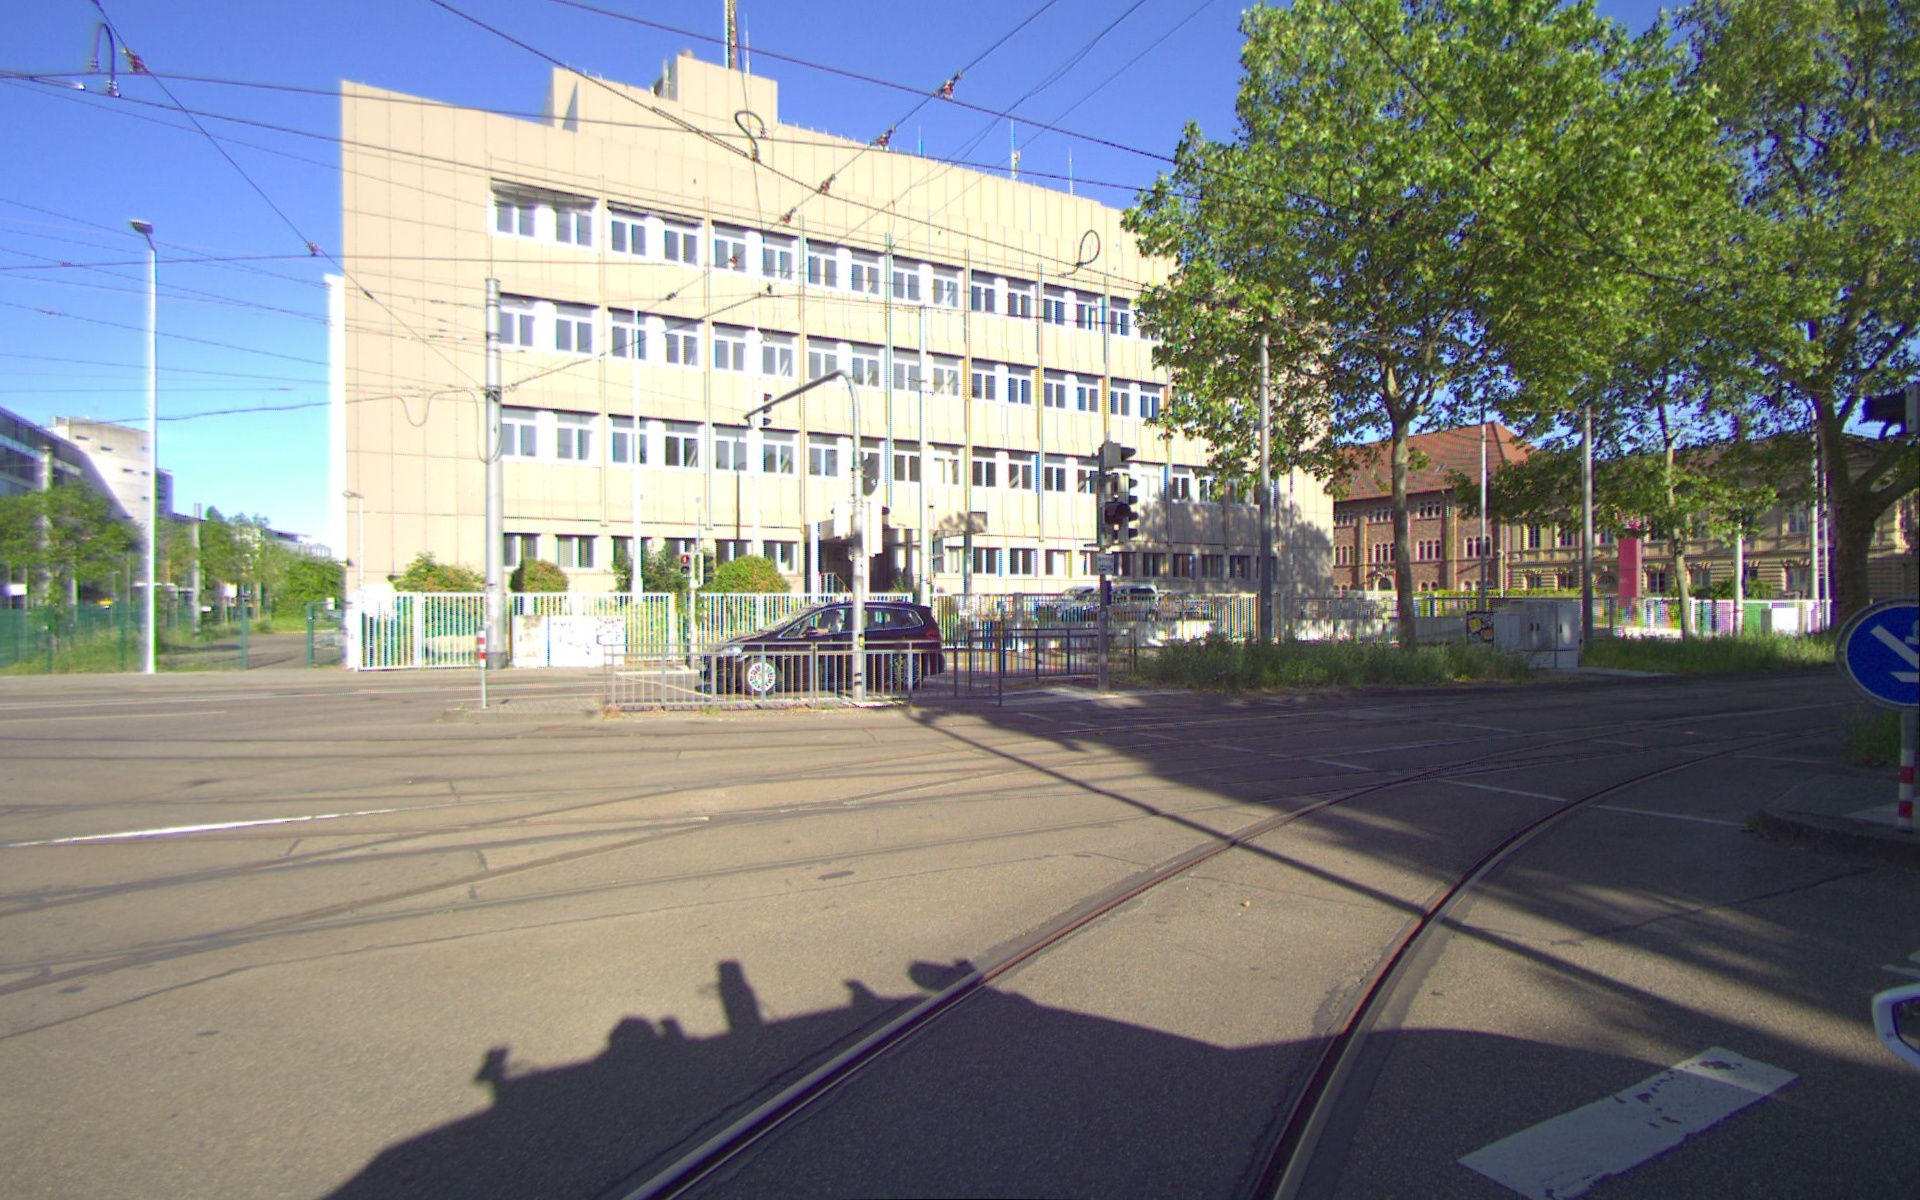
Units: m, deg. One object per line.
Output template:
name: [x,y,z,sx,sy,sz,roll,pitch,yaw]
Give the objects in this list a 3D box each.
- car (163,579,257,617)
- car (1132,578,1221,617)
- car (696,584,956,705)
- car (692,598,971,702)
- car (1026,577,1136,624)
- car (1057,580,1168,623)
car: [-42.074,-0.117,56.454,3.952,2.041,1.984,-1,1,-30]
car: [11.851,-0.149,55.247,1.980,2.040,4.708,-1,0,-35]
car: [-2.465,0.718,18.466,4.360,1.974,1.989,-1,1,-23]
car: [-2.320,0.815,18.484,4.699,1.638,1.984,-1,0,-31]
car: [5.536,-0.013,46.030,4.660,2.040,1.988,-1,1,-25]
car: [6.551,0.037,43.142,4.317,1.726,1.988,-1,0,-25]
